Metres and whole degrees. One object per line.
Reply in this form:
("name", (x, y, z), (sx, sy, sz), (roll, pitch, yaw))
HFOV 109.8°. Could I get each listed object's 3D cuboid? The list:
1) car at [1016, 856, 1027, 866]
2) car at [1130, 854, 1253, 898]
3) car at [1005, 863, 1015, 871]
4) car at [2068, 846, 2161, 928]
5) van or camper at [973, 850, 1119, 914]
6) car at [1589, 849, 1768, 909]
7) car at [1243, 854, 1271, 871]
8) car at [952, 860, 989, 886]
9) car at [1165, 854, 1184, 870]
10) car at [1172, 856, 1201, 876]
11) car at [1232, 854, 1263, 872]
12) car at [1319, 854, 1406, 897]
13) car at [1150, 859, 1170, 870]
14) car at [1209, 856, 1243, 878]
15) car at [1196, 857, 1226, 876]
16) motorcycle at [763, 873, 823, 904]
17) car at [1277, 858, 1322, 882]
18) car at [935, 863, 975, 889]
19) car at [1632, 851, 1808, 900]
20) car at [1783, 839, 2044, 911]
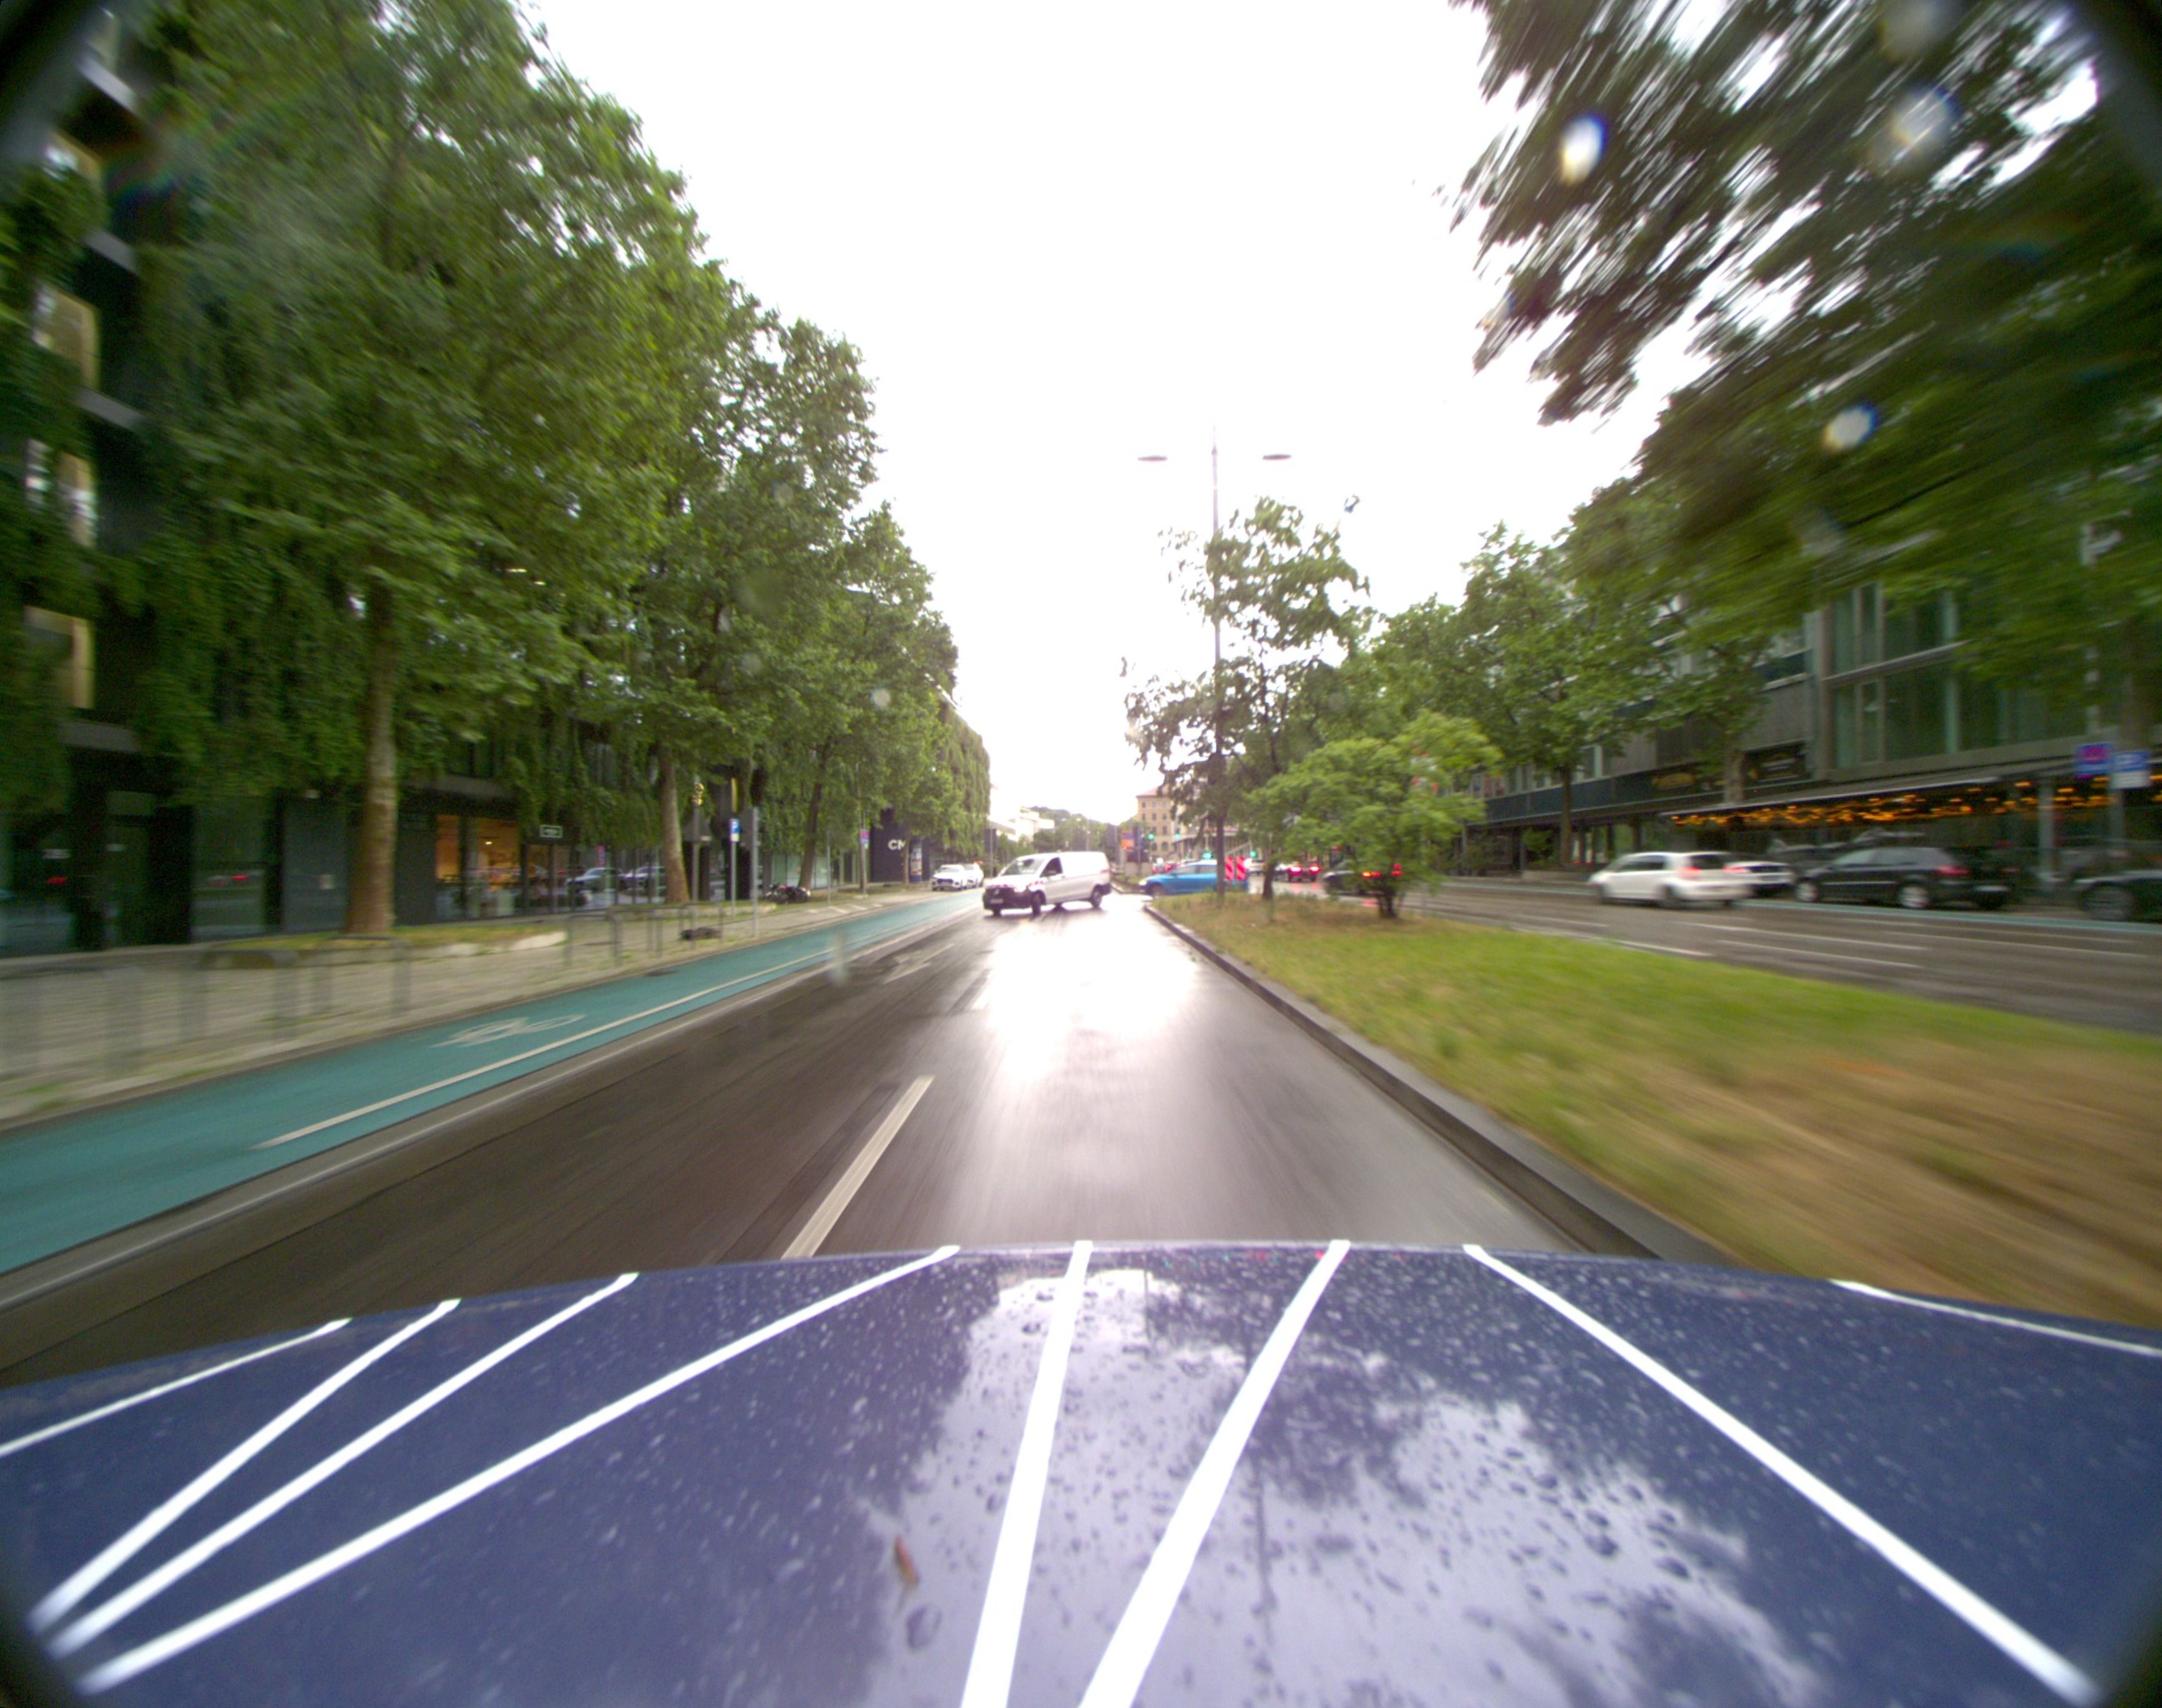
("car", (-12.777, 1.572, 164.337), (1.999, 2.001, 4.000), (-1, -1, 0))
("car", (4.302, 0.863, 29.560), (4.387, 1.473, 1.852), (-3, -1, 20))
("car", (-14.547, 2.627, 155.860), (1.739, 1.543, 4.671), (-1, 0, 0))
("car", (19.486, 0.538, 12.109), (1.697, 1.400, 4.456), (-1, -1, 0))
("van or camper", (-1.017, 0.873, 25.493), (1.995, 1.902, 5.262), (-4, -2, 35))
("car", (15.640, 0.632, 20.168), (1.848, 1.420, 3.643), (-1, -1, 0))
("car", (17.320, 0.851, 74.944), (1.757, 1.556, 4.000), (-1, 0, -1))
("car", (-8.131, 1.370, 56.282), (1.848, 1.827, 5.095), (0, -1, 2))
("car", (12.395, 1.038, 101.076), (1.754, 1.973, 4.094), (-1, 0, -4))
("car", (9.991, 1.137, 72.406), (1.840, 1.756, 5.108), (-1, -1, -2))
("car", (14.114, 0.755, 64.552), (1.723, 1.482, 4.570), (-1, 0, 2))
("car", (11.142, 0.801, 30.355), (1.753, 1.467, 4.094), (-3, 0, -3))
("car", (9.712, 1.305, 94.168), (1.754, 1.314, 4.094), (-1, 0, -4))
("car", (10.686, 0.936, 56.109), (1.754, 1.467, 4.096), (-1, 0, 0))
("car", (11.053, 1.067, 64.754), (1.739, 1.564, 4.832), (-1, -1, 0))
("motorcycle", (-13.209, 1.581, 34.929), (2.313, 1.263, 1.052), (-3, 0, -1))
("car", (14.171, 0.983, 49.426), (1.754, 1.467, 4.096), (-1, 0, 0))
("car", (-8.255, 1.425, 50.148), (1.848, 1.622, 4.787), (-1, -1, 0))
("car", (19.807, 0.649, 23.882), (1.563, 1.345, 4.683), (-2, -1, 0))
("car", (19.644, 0.482, 18.242), (1.841, 1.499, 4.000), (-1, -1, 0))
